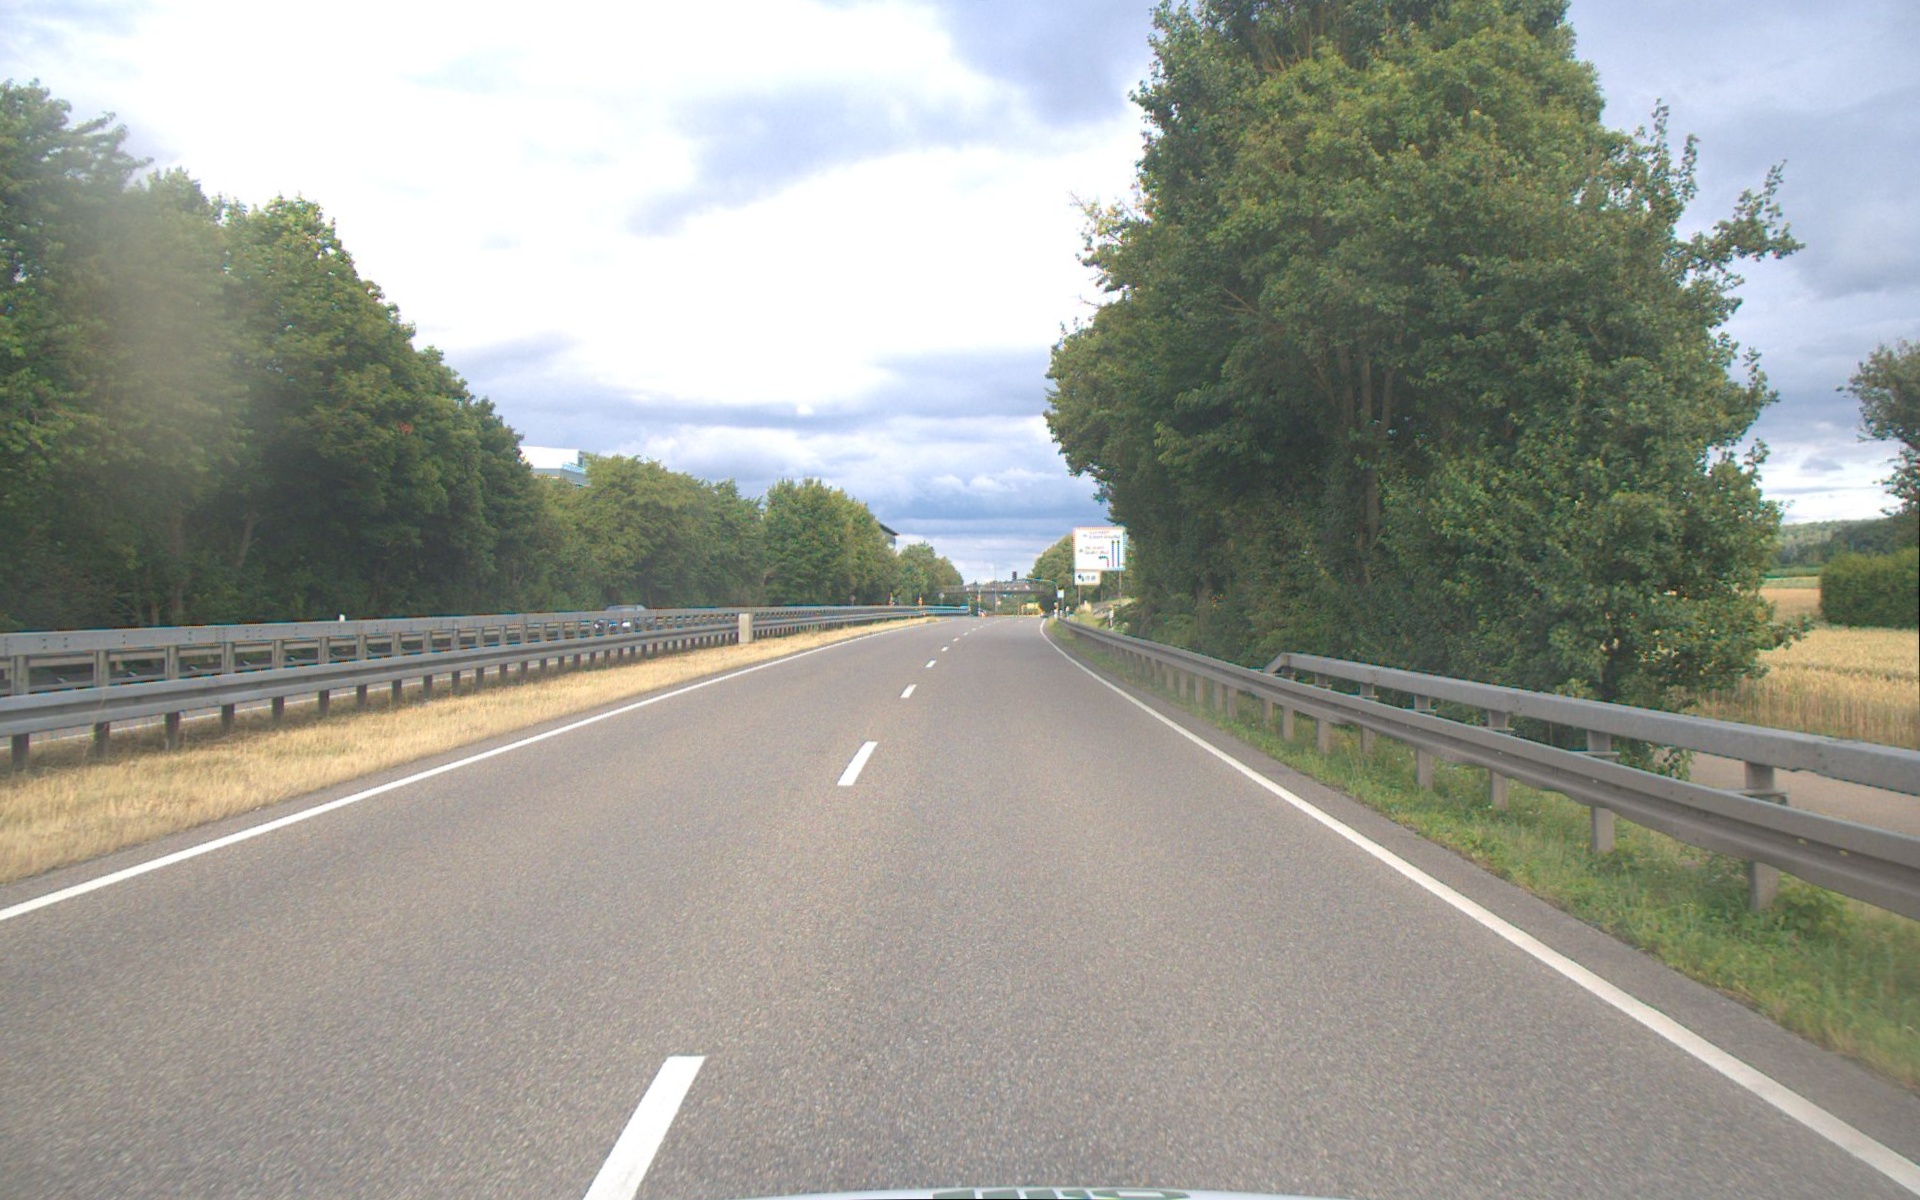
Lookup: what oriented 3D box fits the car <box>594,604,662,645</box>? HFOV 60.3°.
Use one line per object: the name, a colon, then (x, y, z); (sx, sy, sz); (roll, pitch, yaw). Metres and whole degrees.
car: (-13.653, 0.990, 68.256); (1.787, 1.571, 4.587); (-1, 0, 1)
